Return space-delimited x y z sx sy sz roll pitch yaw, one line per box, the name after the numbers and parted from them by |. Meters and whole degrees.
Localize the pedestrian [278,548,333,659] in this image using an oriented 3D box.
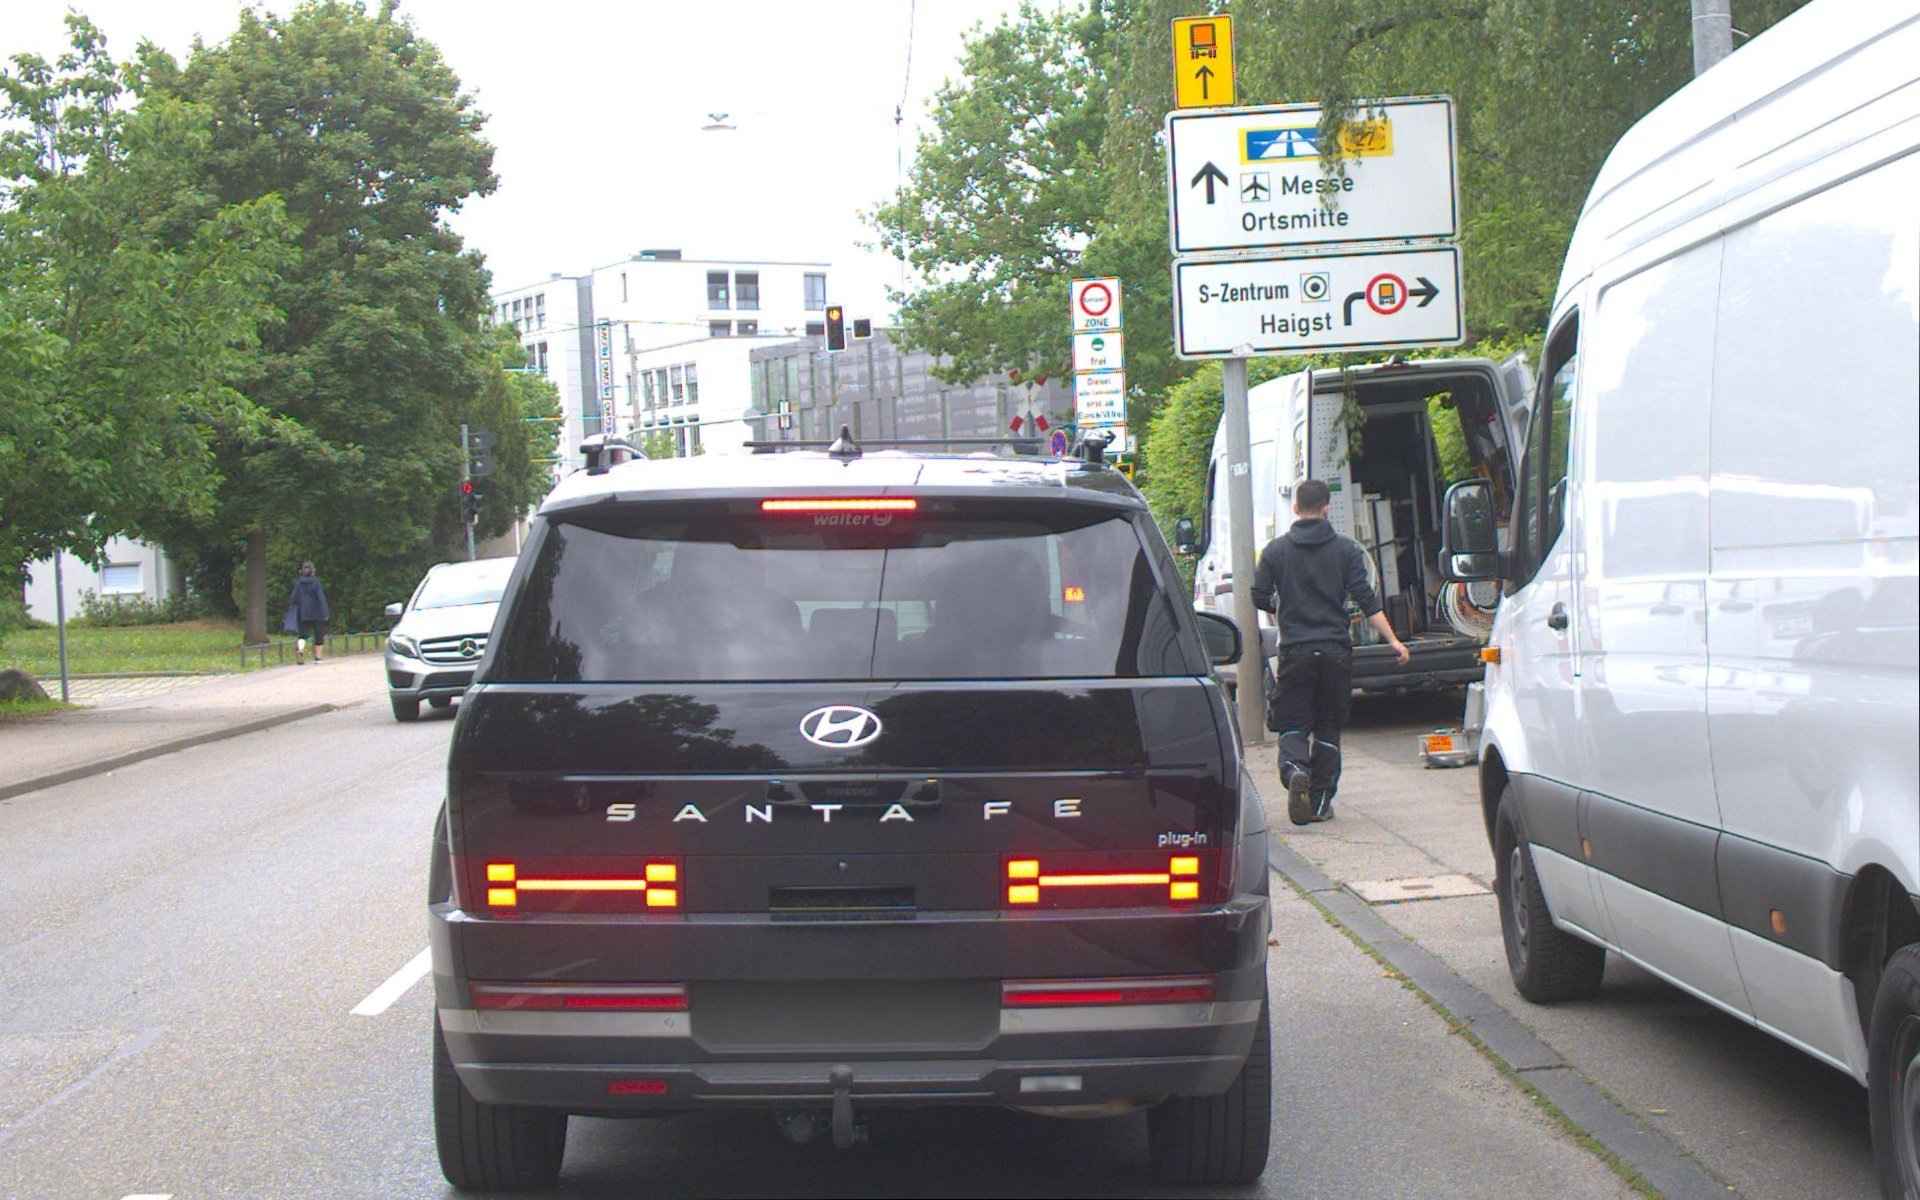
-10.254 0.046 53.898 0.738 1.709 0.793 -2 1 -7 | pedestrian

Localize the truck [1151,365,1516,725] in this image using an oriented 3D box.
2.916 -0.430 28.090 1.942 2.553 5.217 -4 1 -4 | truck

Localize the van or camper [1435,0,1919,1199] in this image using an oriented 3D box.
2.626 -0.074 7.966 1.993 2.611 6.541 -2 1 -1 | van or camper

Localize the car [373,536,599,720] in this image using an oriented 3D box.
-4.802 0.240 35.324 1.785 1.648 4.121 -4 1 -2 | car

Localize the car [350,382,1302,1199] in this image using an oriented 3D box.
-0.288 0.443 8.866 1.889 1.813 4.000 0 1 -1 | car

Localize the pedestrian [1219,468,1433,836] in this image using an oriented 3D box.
1.841 0.248 17.234 0.758 1.791 0.871 -1 1 26 | pedestrian

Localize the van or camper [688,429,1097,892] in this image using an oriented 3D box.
-0.322 0.235 17.322 1.754 2.007 4.000 -2 1 -1 | van or camper
